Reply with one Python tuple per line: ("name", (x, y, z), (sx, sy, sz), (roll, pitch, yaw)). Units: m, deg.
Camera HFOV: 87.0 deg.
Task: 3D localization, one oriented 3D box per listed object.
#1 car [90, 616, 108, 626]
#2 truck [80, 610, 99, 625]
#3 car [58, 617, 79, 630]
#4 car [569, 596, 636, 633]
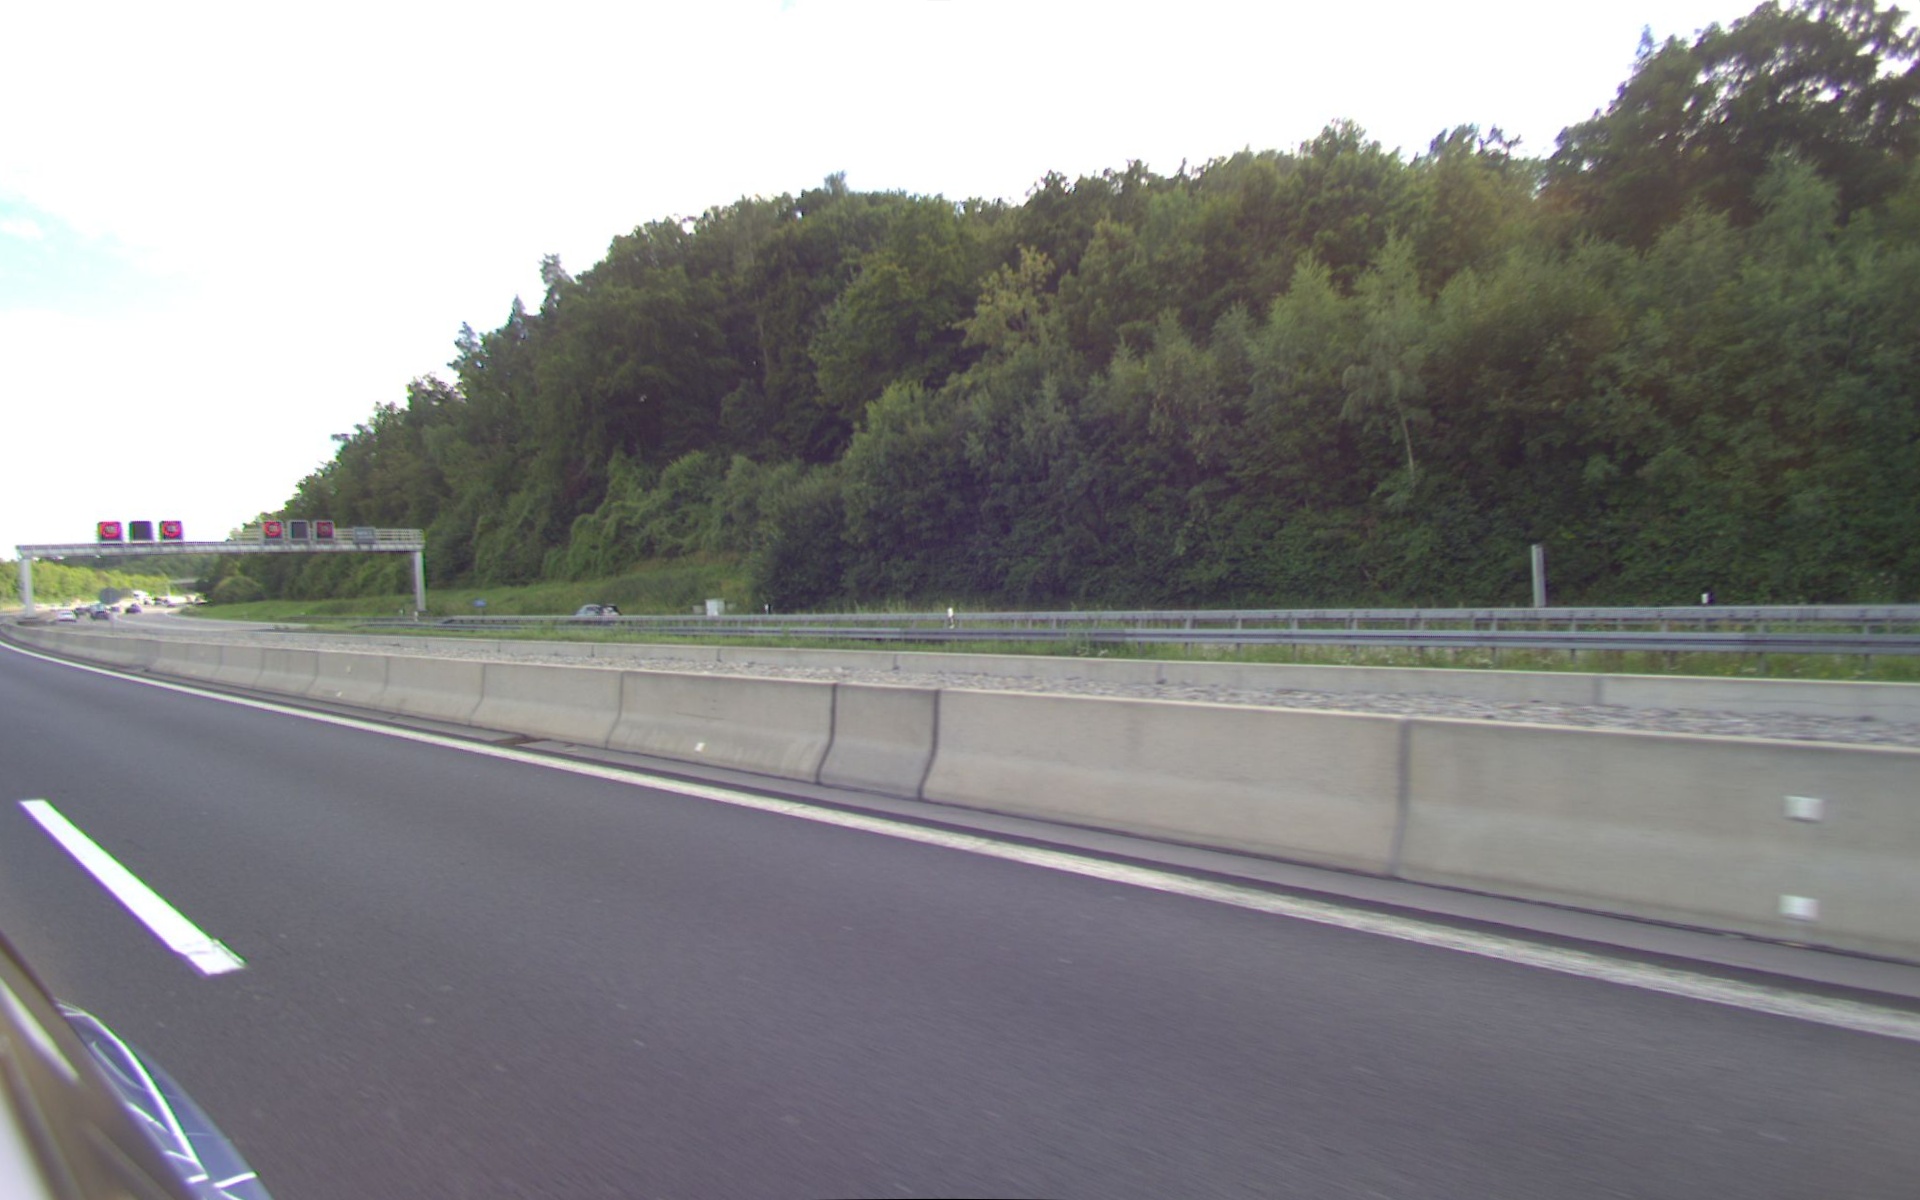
("car", (-122.871, 2.944, 144.389), (1.646, 1.406, 4.604), (-1, 0, -44))
("truck", (-141.855, 2.852, 164.874), (2.158, 2.242, 5.576), (-1, 0, -43))
("car", (-113.149, 2.991, 128.410), (1.744, 1.593, 4.936), (-1, 0, -44))
("car", (-20.427, 0.830, 57.746), (3.999, 2.029, 1.972), (-1, 0, 43))
